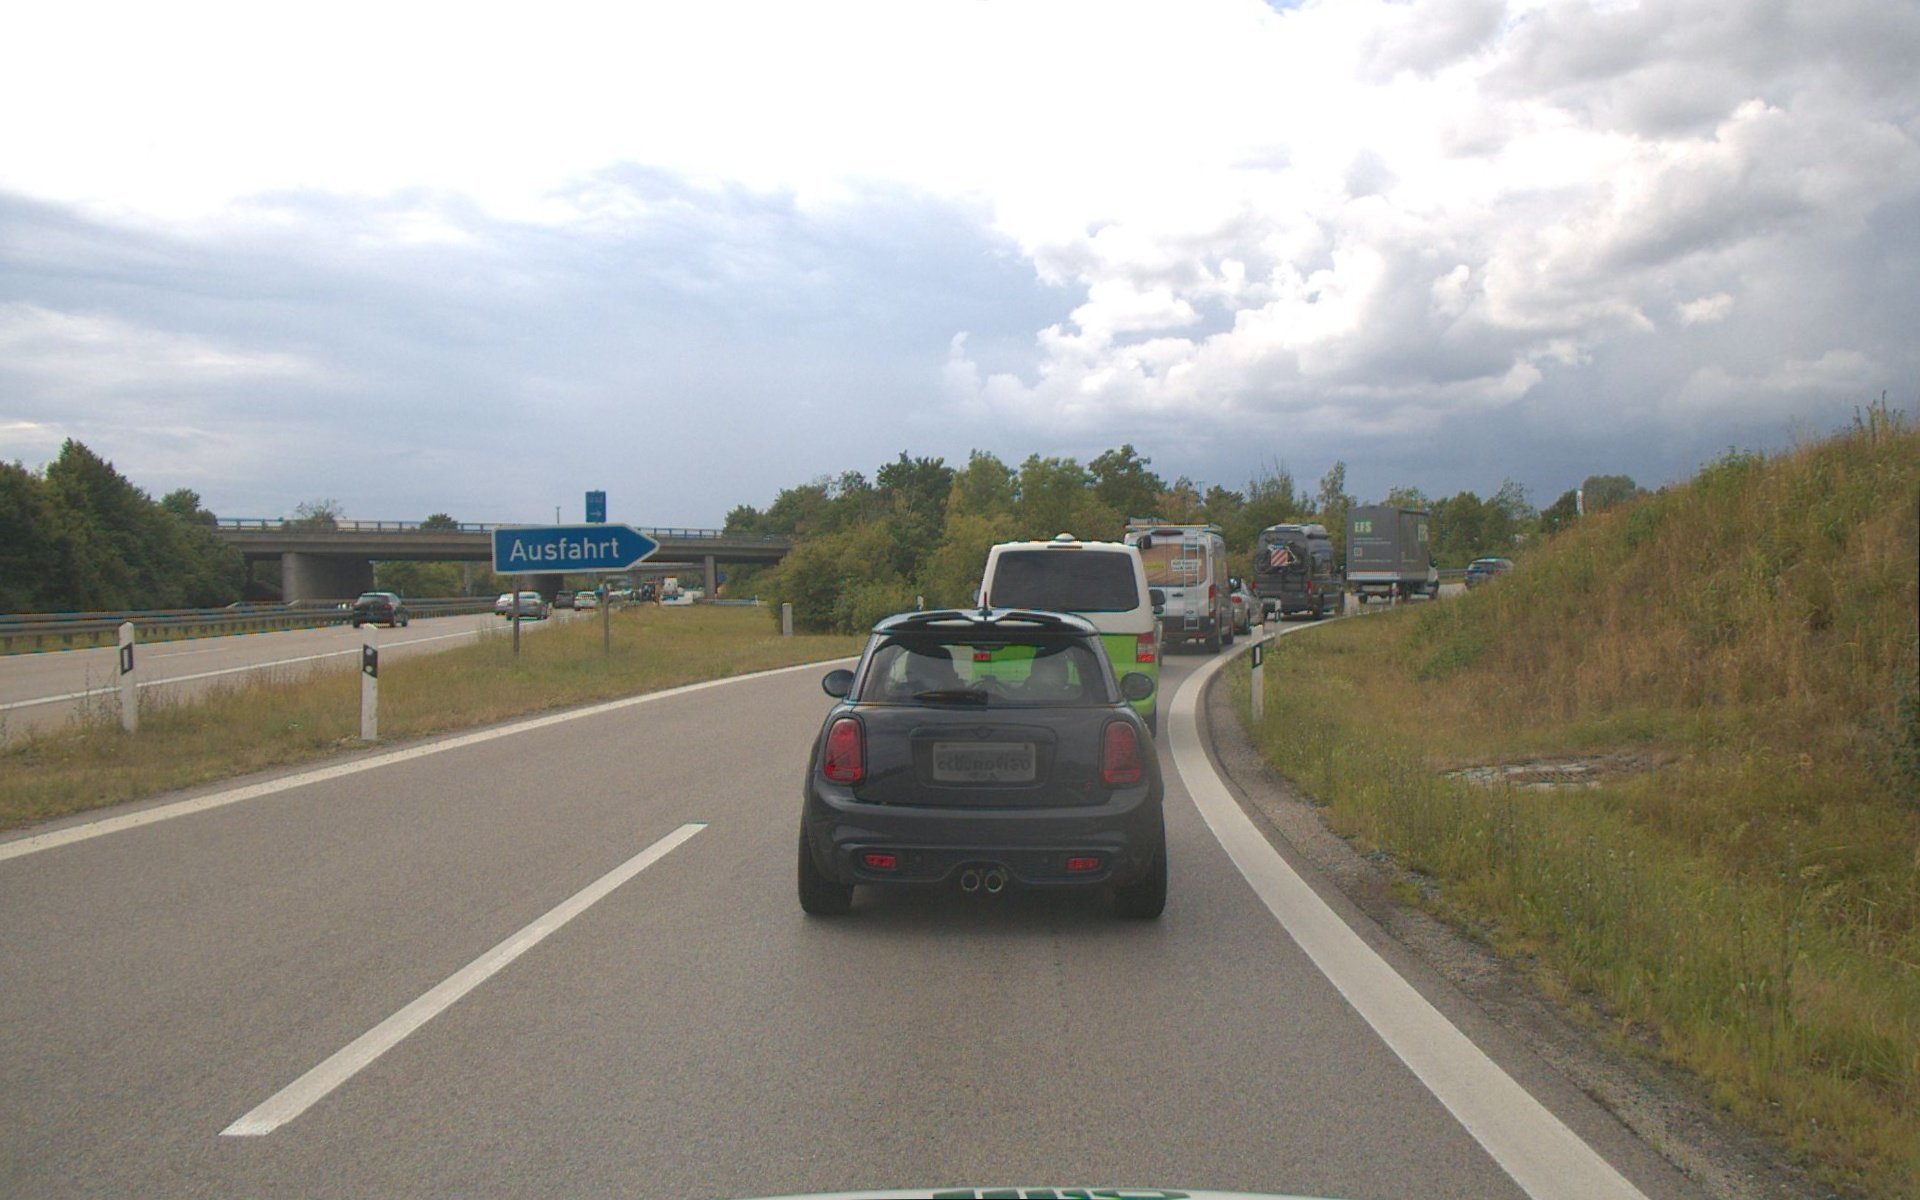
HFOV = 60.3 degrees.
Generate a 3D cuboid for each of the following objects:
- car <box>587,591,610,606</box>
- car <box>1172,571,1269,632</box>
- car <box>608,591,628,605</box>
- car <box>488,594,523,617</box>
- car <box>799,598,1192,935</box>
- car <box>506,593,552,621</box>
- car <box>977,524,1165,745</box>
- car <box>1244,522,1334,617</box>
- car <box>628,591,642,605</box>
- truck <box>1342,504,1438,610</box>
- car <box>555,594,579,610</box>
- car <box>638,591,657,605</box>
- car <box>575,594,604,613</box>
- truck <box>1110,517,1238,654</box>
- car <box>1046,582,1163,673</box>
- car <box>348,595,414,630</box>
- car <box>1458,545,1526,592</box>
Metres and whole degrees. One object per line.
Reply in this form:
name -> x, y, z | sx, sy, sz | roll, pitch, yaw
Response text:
car -> -41.101, -0.142, 188.248 | 2.056, 1.700, 4.300 | -1, 0, -6
car -> 6.917, 0.030, 43.629 | 1.827, 1.536, 4.001 | 0, 0, 19
car -> -44.082, -0.248, 213.489 | 2.118, 1.700, 4.300 | -1, 0, -6
car -> -29.908, 0.348, 108.932 | 1.747, 1.423, 4.297 | -1, 0, -9
car -> 0.153, 0.718, 9.019 | 1.692, 1.438, 3.725 | 0, 0, 0
car -> -22.698, 0.346, 87.133 | 1.746, 1.423, 4.543 | -1, 0, -7
car -> 1.253, 0.303, 17.491 | 1.746, 2.049, 4.003 | 0, 0, 6
car -> 10.396, -0.954, 52.055 | 2.062, 2.845, 4.000 | 1, 1, 22
car -> -50.272, -0.342, 255.853 | 2.031, 2.049, 3.991 | 1, 0, -10
truck -> 17.162, -1.627, 65.819 | 2.187, 3.975, 6.005 | 0, -1, 30
car -> -35.274, 0.167, 148.518 | 1.747, 1.423, 4.296 | -1, 0, -10
car -> -40.725, -0.277, 215.727 | 2.056, 1.700, 4.300 | -1, 0, -6
car -> -28.380, 0.247, 126.791 | 1.746, 1.423, 4.023 | -1, 0, -6
truck -> 4.665, -0.335, 35.365 | 2.132, 2.705, 5.113 | 0, 1, 14
car -> 2.495, 0.426, 27.885 | 1.724, 1.423, 3.728 | -1, 0, 9
car -> -24.608, 0.526, 70.397 | 1.746, 1.423, 4.299 | -1, 0, -7
car -> 24.607, -1.415, 76.408 | 1.959, 2.049, 3.988 | 0, -1, 34
